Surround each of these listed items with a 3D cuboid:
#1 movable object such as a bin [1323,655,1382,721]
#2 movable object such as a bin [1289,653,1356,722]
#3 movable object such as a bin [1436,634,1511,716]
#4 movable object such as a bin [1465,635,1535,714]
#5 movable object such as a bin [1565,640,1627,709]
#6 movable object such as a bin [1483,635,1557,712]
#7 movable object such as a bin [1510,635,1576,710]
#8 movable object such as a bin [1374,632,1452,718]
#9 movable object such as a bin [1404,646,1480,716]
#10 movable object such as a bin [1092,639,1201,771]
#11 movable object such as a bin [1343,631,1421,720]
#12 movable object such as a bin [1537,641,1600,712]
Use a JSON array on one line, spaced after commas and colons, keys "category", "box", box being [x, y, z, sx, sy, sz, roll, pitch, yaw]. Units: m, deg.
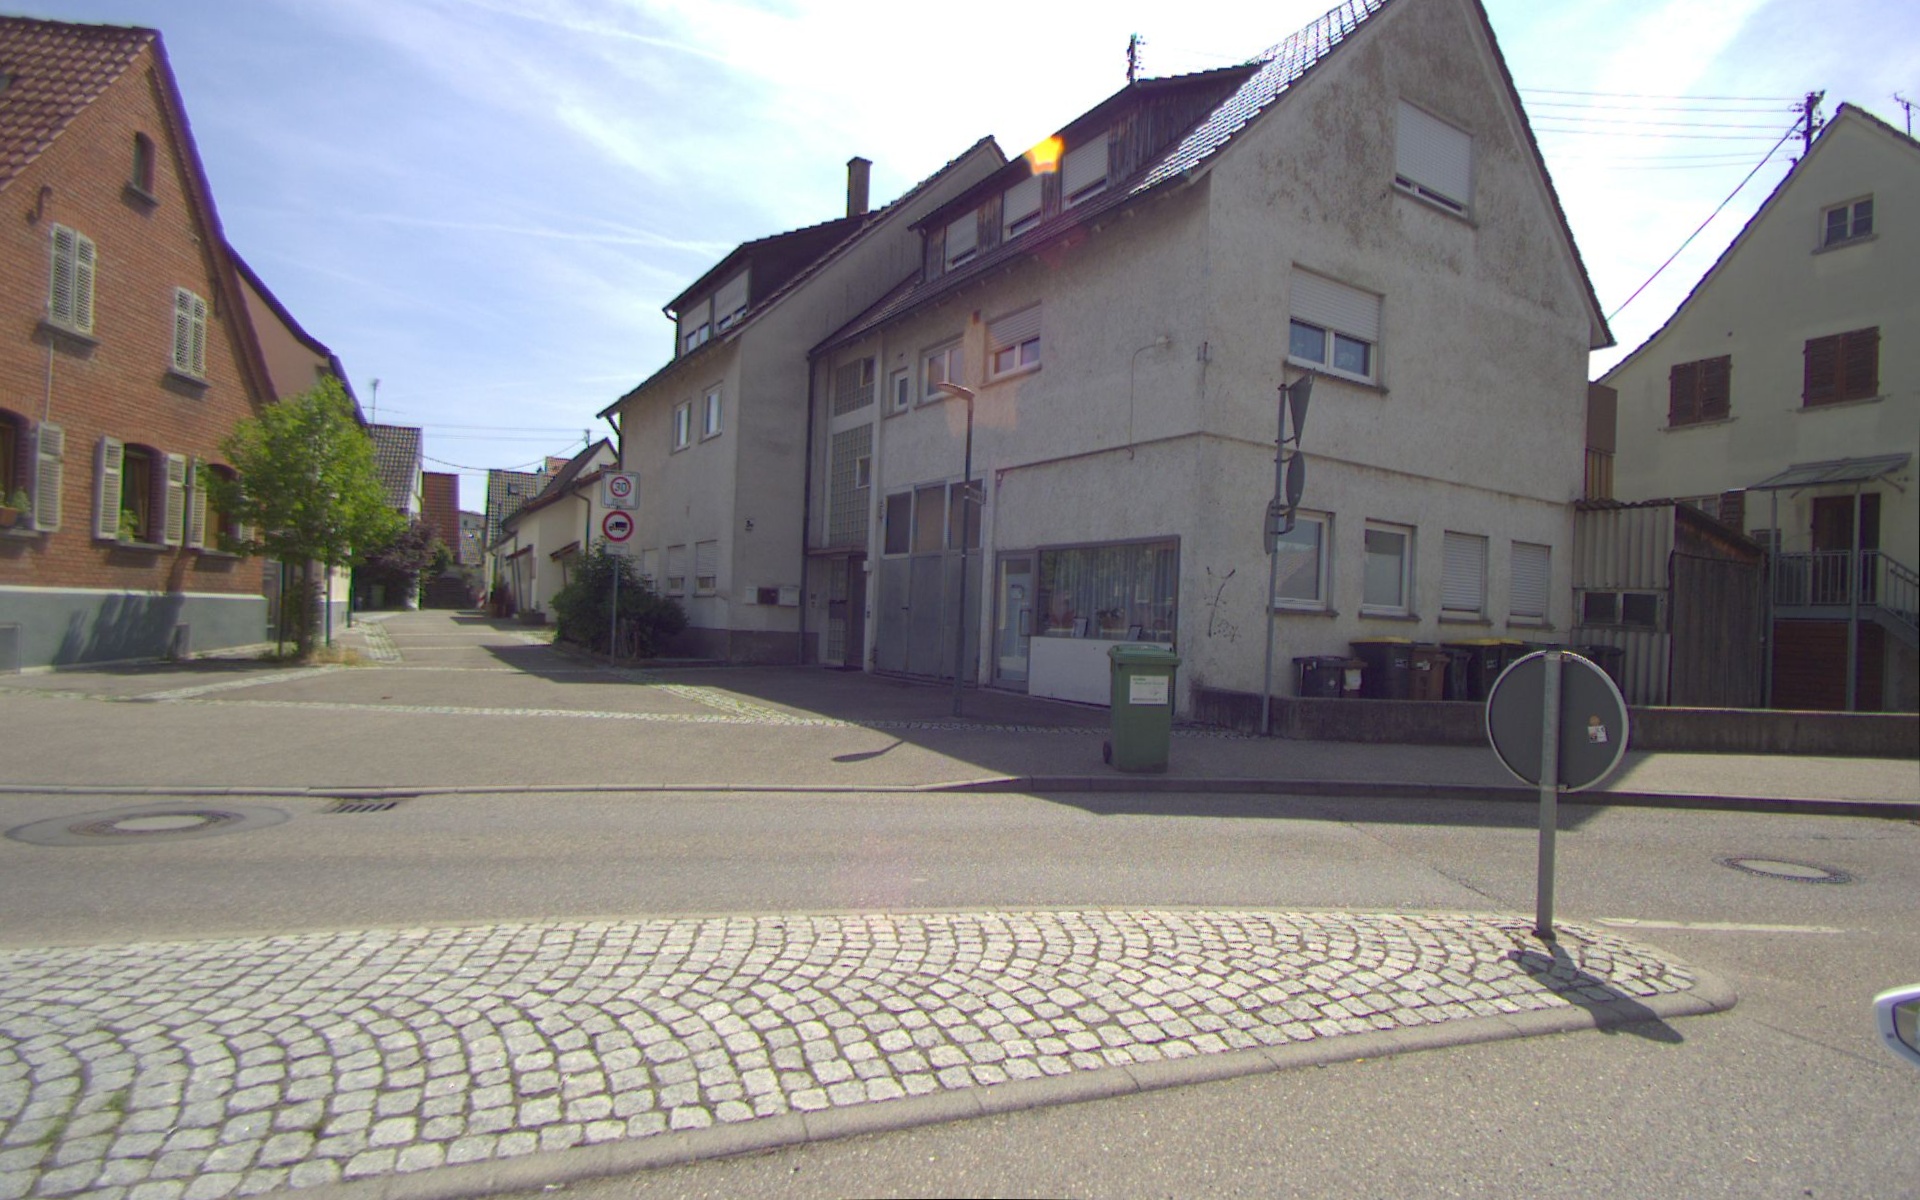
[{"category": "movable object such as a bin", "box": [5.054, 1.122, 12.940, 0.522, 0.791, 0.482, 2, 0, -34]}, {"category": "movable object such as a bin", "box": [4.551, 1.089, 12.613, 0.640, 0.816, 0.482, 2, 0, -33]}, {"category": "movable object such as a bin", "box": [7.365, 1.059, 14.412, 0.691, 1.097, 0.678, 2, 0, -34]}, {"category": "movable object such as a bin", "box": [7.938, 1.078, 14.769, 0.619, 1.097, 0.678, 2, 0, -34]}, {"category": "movable object such as a bin", "box": [10.121, 1.173, 15.986, 0.607, 1.048, 0.624, 2, 0, -34]}, {"category": "movable object such as a bin", "box": [8.454, 1.096, 15.162, 0.653, 1.097, 0.734, 2, 0, -34]}, {"category": "movable object such as a bin", "box": [8.990, 1.105, 15.488, 0.578, 1.097, 0.674, 2, 0, -34]}, {"category": "movable object such as a bin", "box": [6.139, 0.998, 13.629, 0.691, 1.100, 0.678, 2, 0, -34]}, {"category": "movable object such as a bin", "box": [6.728, 1.111, 14.029, 0.691, 0.908, 0.678, 2, 0, -34]}, {"category": "movable object such as a bin", "box": [1.627, 0.904, 8.880, 0.810, 1.059, 0.811, 2, 0, 2]}, {"category": "movable object such as a bin", "box": [5.562, 0.978, 13.246, 0.638, 1.100, 0.678, 2, 0, -34]}, {"category": "movable object such as a bin", "box": [9.530, 1.183, 15.739, 0.597, 1.049, 0.623, 2, 0, -34]}]
